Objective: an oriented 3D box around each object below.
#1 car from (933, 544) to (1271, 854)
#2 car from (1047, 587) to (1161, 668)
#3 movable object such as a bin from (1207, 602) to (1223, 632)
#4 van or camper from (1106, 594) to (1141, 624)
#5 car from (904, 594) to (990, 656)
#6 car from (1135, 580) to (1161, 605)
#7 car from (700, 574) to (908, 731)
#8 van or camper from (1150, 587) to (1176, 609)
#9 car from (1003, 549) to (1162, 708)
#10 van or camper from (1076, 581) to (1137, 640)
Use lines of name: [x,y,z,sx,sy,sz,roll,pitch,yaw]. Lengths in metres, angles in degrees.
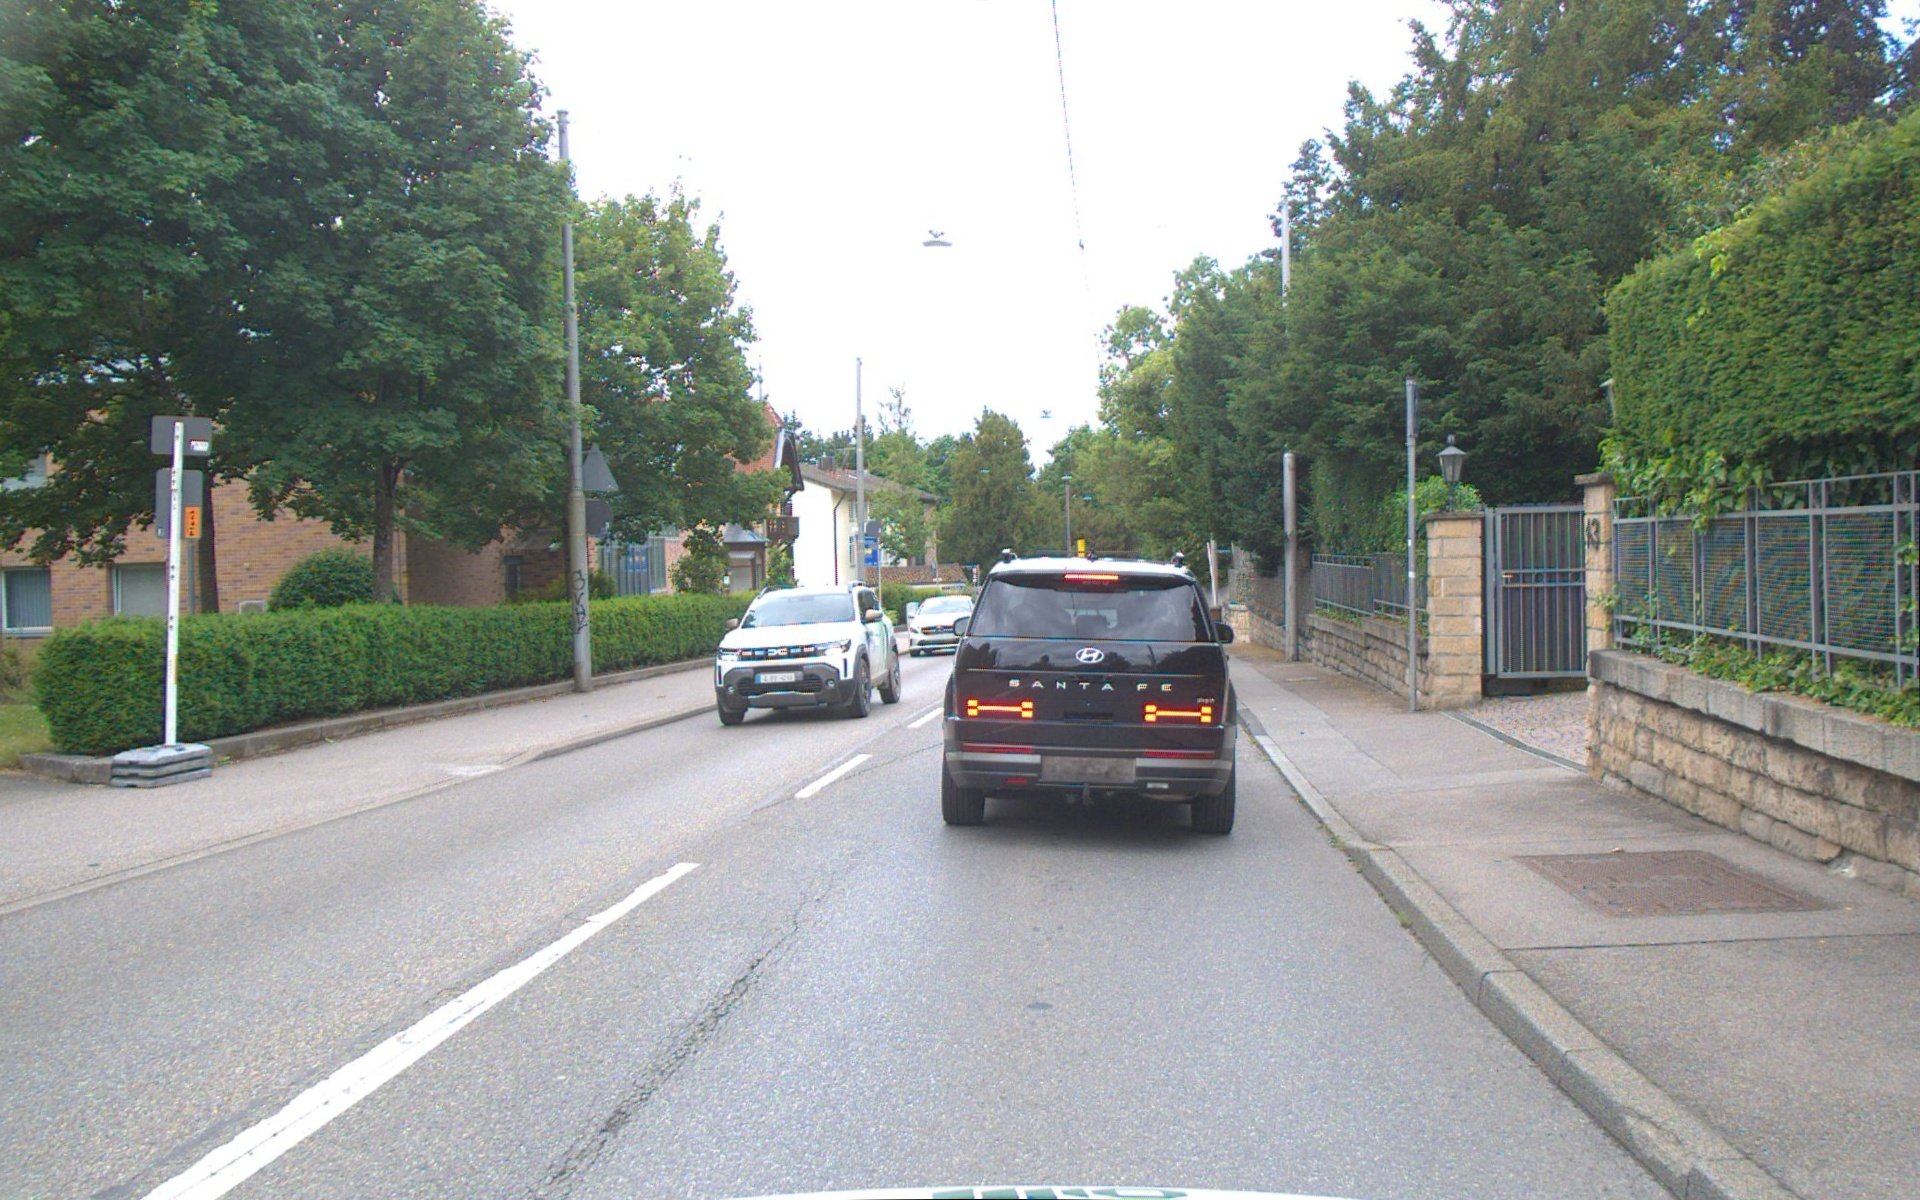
car: [1.040,0.544,11.716,1.915,1.742,4.226,1,1,6]
car: [2.926,0.505,32.849,1.951,1.428,4.004,-2,0,9]
movable object such as a bin: [8.510,0.567,55.142,0.435,0.925,0.394,-4,1,16]
van or camper: [9.895,0.544,100.057,1.951,1.680,4.003,-2,0,7]
car: [-0.289,0.608,42.545,1.729,1.446,4.068,-3,0,5]
car: [13.327,-0.549,117.043,1.609,1.588,3.652,-1,-2,9]
car: [-1.852,0.589,20.995,1.732,1.666,4.304,-4,0,6]
van or camper: [16.228,-0.184,132.524,1.951,1.680,4.003,-2,0,7]
car: [1.795,0.339,22.967,1.915,1.990,4.227,0,0,8]
van or camper: [5.198,0.326,58.250,1.951,1.920,4.003,-3,0,6]
